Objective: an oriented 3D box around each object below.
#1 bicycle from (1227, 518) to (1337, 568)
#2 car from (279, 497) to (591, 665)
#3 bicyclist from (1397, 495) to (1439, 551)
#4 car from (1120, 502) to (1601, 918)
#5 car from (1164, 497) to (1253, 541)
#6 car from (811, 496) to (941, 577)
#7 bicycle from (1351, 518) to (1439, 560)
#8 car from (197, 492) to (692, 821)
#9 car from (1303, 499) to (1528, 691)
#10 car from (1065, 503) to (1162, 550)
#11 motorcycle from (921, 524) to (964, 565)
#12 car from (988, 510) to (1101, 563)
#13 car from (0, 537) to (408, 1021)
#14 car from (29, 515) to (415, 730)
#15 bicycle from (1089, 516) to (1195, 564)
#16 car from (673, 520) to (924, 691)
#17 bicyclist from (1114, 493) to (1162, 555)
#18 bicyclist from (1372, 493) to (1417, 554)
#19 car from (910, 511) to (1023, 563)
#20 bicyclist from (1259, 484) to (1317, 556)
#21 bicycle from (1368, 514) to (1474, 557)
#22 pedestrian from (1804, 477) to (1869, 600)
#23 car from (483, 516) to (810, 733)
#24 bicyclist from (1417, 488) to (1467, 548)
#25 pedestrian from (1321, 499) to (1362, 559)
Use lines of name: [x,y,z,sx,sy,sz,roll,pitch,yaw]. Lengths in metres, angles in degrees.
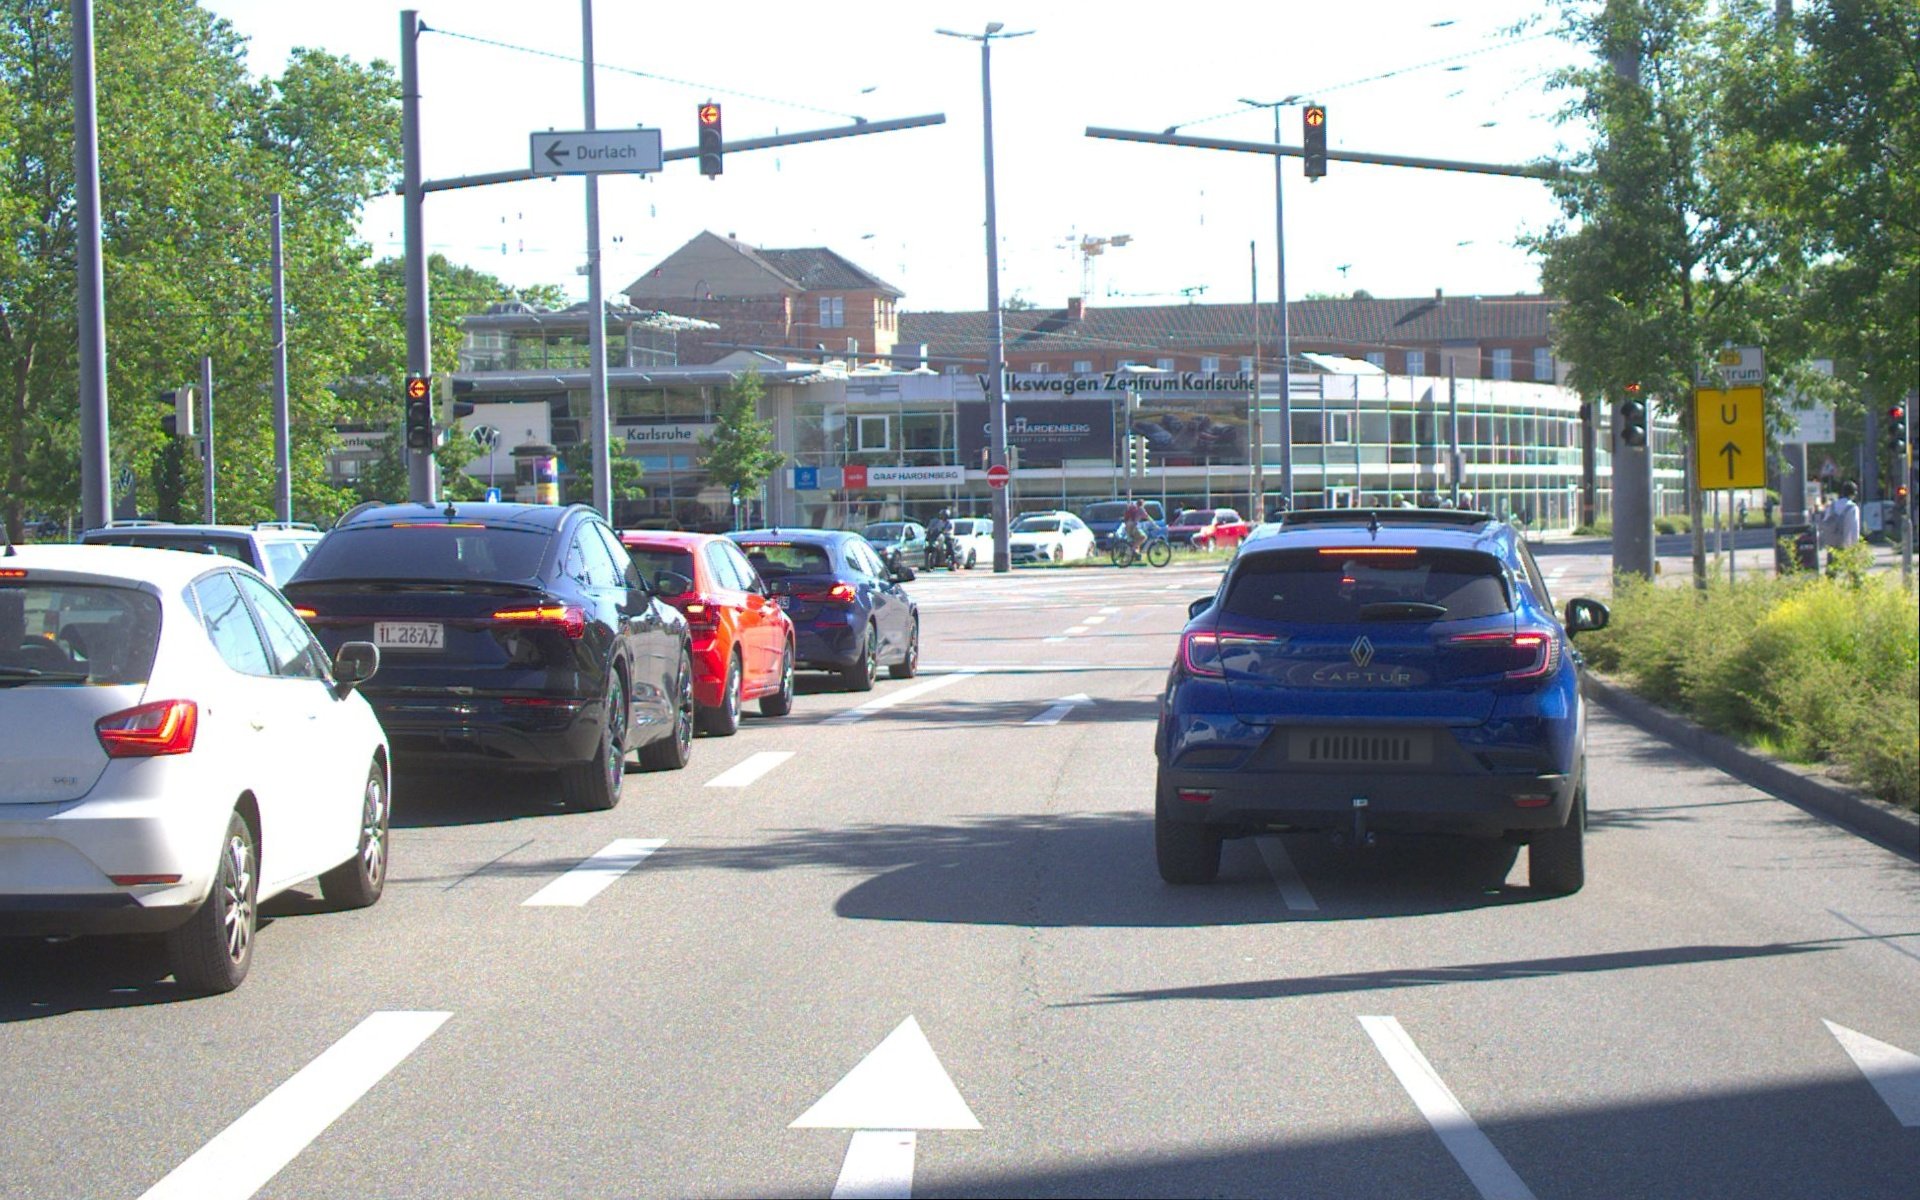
bicycle: [8.222,-1.471,87.793,2.645,1.184,0.948,-2,4,-19]
car: [-4.853,-0.214,32.285,1.726,1.437,3.908,2,2,10]
bicyclist: [12.001,-2.013,90.130,0.962,1.444,0.969,-1,1,1]
car: [1.940,0.378,15.638,1.877,1.612,3.796,1,2,11]
car: [8.558,-2.773,118.088,1.727,1.437,4.179,2,2,24]
car: [-2.261,-1.756,93.888,1.996,2.006,3.996,1,4,24]
bicycle: [11.516,-1.614,91.119,2.177,1.091,0.759,-1,1,-10]
car: [-2.735,0.227,19.276,1.984,1.618,4.378,1,1,2]
car: [4.118,-0.082,31.028,1.877,1.612,3.624,1,1,8]
car: [4.997,-2.375,111.532,1.727,1.437,4.179,2,2,24]
motorcycle: [-0.468,-1.499,92.973,0.562,1.090,1.834,0,1,20]
car: [2.424,-1.813,97.527,1.727,1.437,4.179,0,1,24]
car: [-3.123,0.507,12.272,1.691,1.431,3.737,1,1,0]
car: [-5.285,0.107,25.105,1.725,1.437,3.798,0,1,5]
bicycle: [4.807,-1.597,91.054,2.645,1.184,0.948,-1,4,-11]
car: [-1.435,0.002,31.916,1.725,1.437,3.798,1,2,6]
bicyclist: [4.711,-2.020,91.013,1.062,1.578,0.948,-1,4,-12]
bicyclist: [11.509,-2.017,91.104,0.985,1.598,0.759,-1,1,-10]
car: [0.210,-1.841,100.044,1.727,1.437,4.179,0,1,24]
bicyclist: [8.368,-2.050,87.824,1.183,1.770,0.948,-1,4,-19]
bicycle: [12.068,-1.695,90.138,2.643,1.091,0.969,-1,1,1]
pedestrian: [12.502,-0.867,49.039,0.595,1.717,0.869,-1,-1,38]
car: [-2.239,0.121,25.460,1.672,1.437,3.721,1,2,6]
bicyclist: [12.950,-2.207,92.337,1.062,1.578,0.948,-1,4,-12]
pedestrian: [10.383,-1.934,93.562,0.849,1.605,0.703,-3,5,-41]
